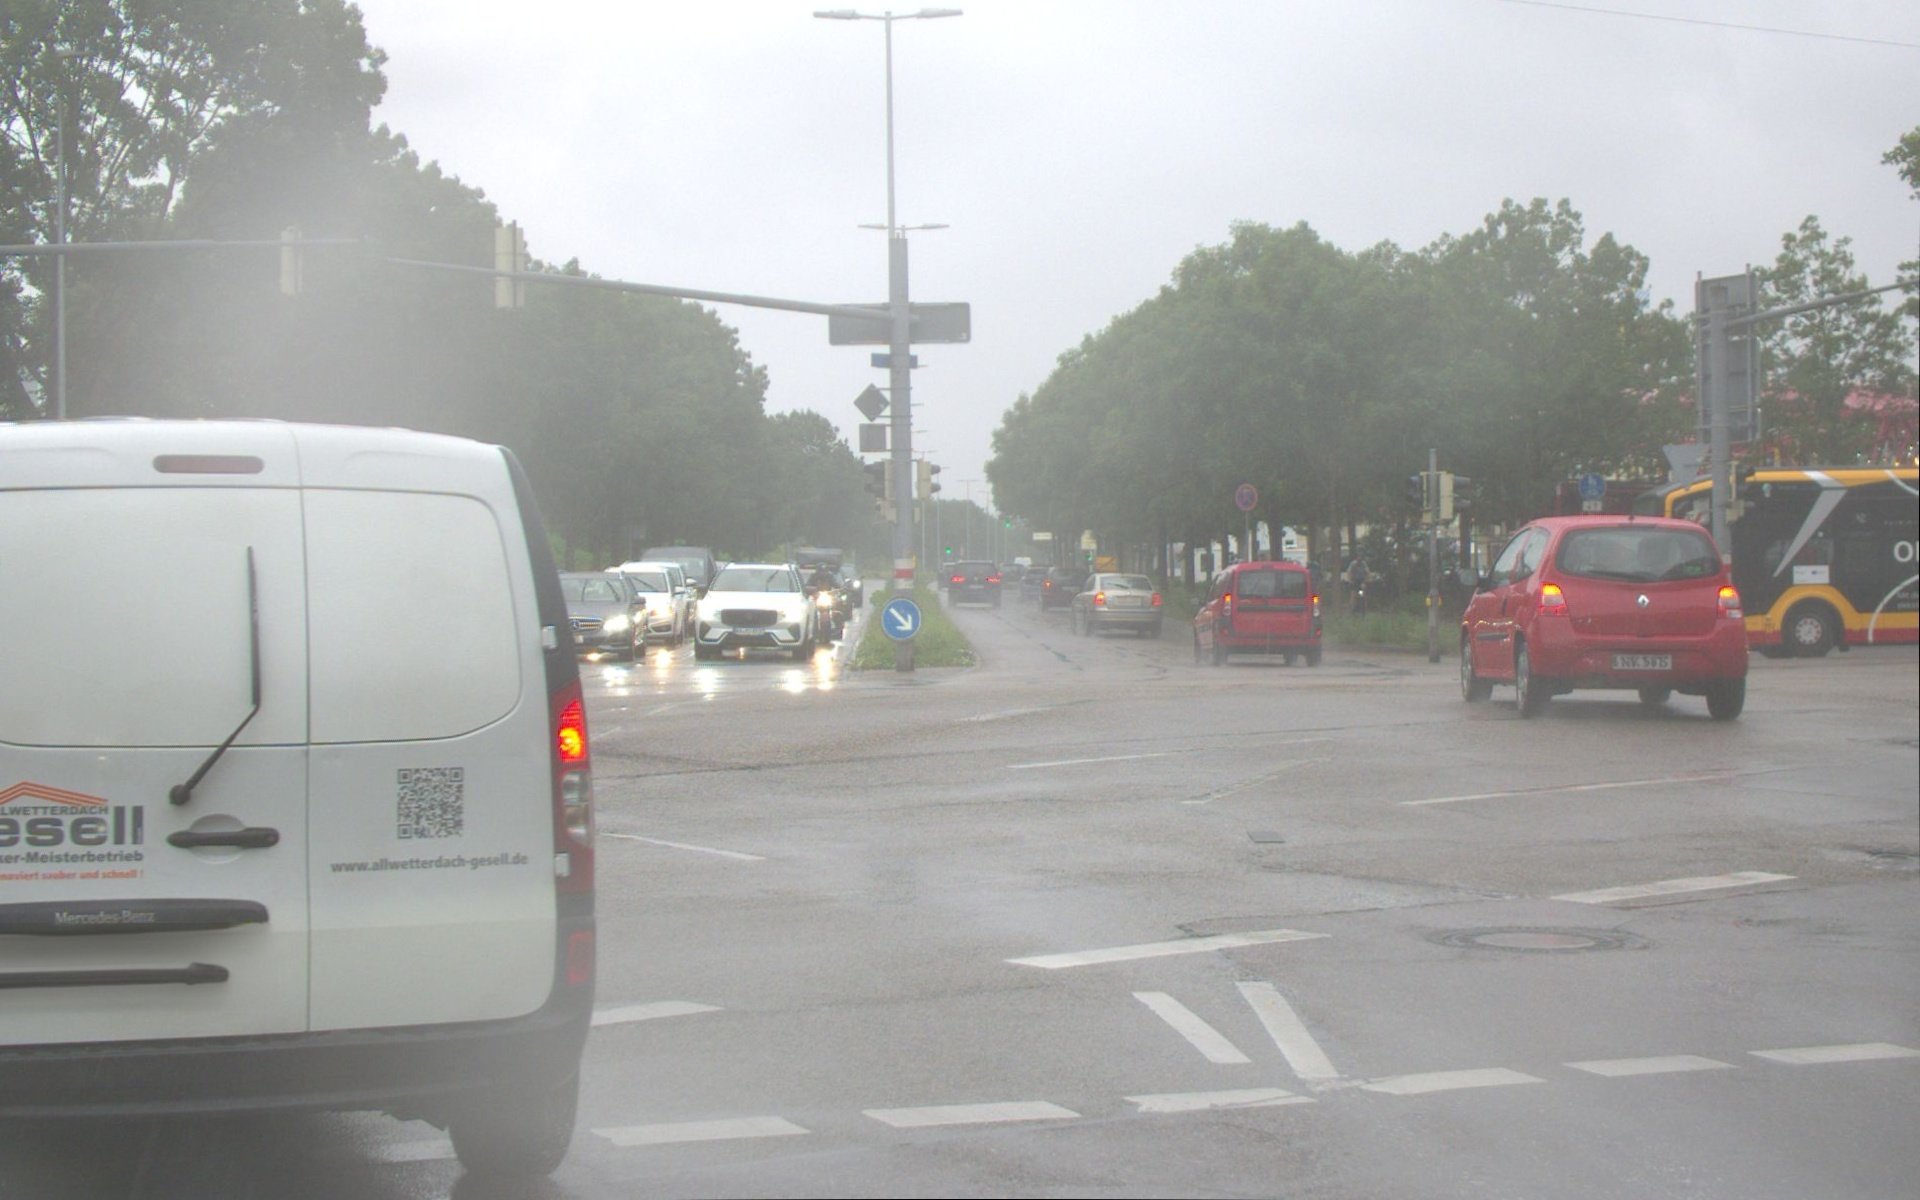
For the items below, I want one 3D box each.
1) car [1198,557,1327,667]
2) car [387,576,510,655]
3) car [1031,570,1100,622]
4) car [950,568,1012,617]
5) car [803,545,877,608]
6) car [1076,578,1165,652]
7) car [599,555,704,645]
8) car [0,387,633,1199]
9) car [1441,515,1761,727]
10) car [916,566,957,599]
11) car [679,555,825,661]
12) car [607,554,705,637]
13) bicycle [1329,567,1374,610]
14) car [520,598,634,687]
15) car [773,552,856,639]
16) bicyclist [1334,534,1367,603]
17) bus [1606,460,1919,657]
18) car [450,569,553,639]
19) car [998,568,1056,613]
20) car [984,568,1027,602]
[{"bbox_3d":[4.752,0.167,54.358,1.632,1.650,3.485,1,1,-1],"label":"car"},{"bbox_3d":[-9.425,0.257,63.602,1.827,1.353,4.001,-1,1,-3],"label":"car"},{"bbox_3d":[3.419,-0.151,112.005,1.996,1.612,4.000,-1,1,-1],"label":"car"},{"bbox_3d":[0.695,-0.263,118.935,1.996,1.612,4.000,-1,1,-1],"label":"car"},{"bbox_3d":[-3.392,-0.674,96.977,1.938,1.714,4.001,-1,1,-4],"label":"car"},{"bbox_3d":[3.651,0.329,78.792,1.842,1.612,4.000,1,1,0],"label":"car"},{"bbox_3d":[-6.129,-0.024,68.703,1.864,1.714,4.001,-1,1,-2],"label":"car"},{"bbox_3d":[-2.341,0.422,8.946,1.755,1.771,4.001,1,1,-24],"label":"car"},{"bbox_3d":[4.783,0.123,26.109,1.678,1.486,3.621,0,1,-1],"label":"car"},{"bbox_3d":[-1.236,-0.918,177.587,1.996,1.612,4.000,-1,1,-1],"label":"car"},{"bbox_3d":[-3.557,0.108,59.540,2.169,1.714,4.303,-1,1,1],"label":"car"},{"bbox_3d":[-6.606,-0.122,75.012,1.844,1.714,4.000,-1,1,-1],"label":"car"},{"bbox_3d":[10.784,-0.323,94.750,0.819,1.161,2.260,-1,1,-4],"label":"bicycle"},{"bbox_3d":[-6.452,0.685,57.730,1.826,1.353,4.001,-1,1,-7],"label":"car"},{"bbox_3d":[-3.021,-0.125,70.944,1.599,1.714,4.001,-1,1,-4],"label":"car"},{"bbox_3d":[10.768,-0.869,94.796,0.767,1.875,0.622,-1,0,-5],"label":"bicyclist"},{"bbox_3d":[17.679,-0.781,59.683,12.248,3.257,3.275,-1,1,-2],"label":"bus"},{"bbox_3d":[-9.457,0.068,71.156,1.827,1.353,4.001,-1,1,-4],"label":"car"},{"bbox_3d":[2.500,-0.358,129.576,1.996,1.612,4.000,-1,1,-1],"label":"car"},{"bbox_3d":[2.253,-0.766,171.677,1.996,1.612,4.000,-1,1,-1],"label":"car"}]
